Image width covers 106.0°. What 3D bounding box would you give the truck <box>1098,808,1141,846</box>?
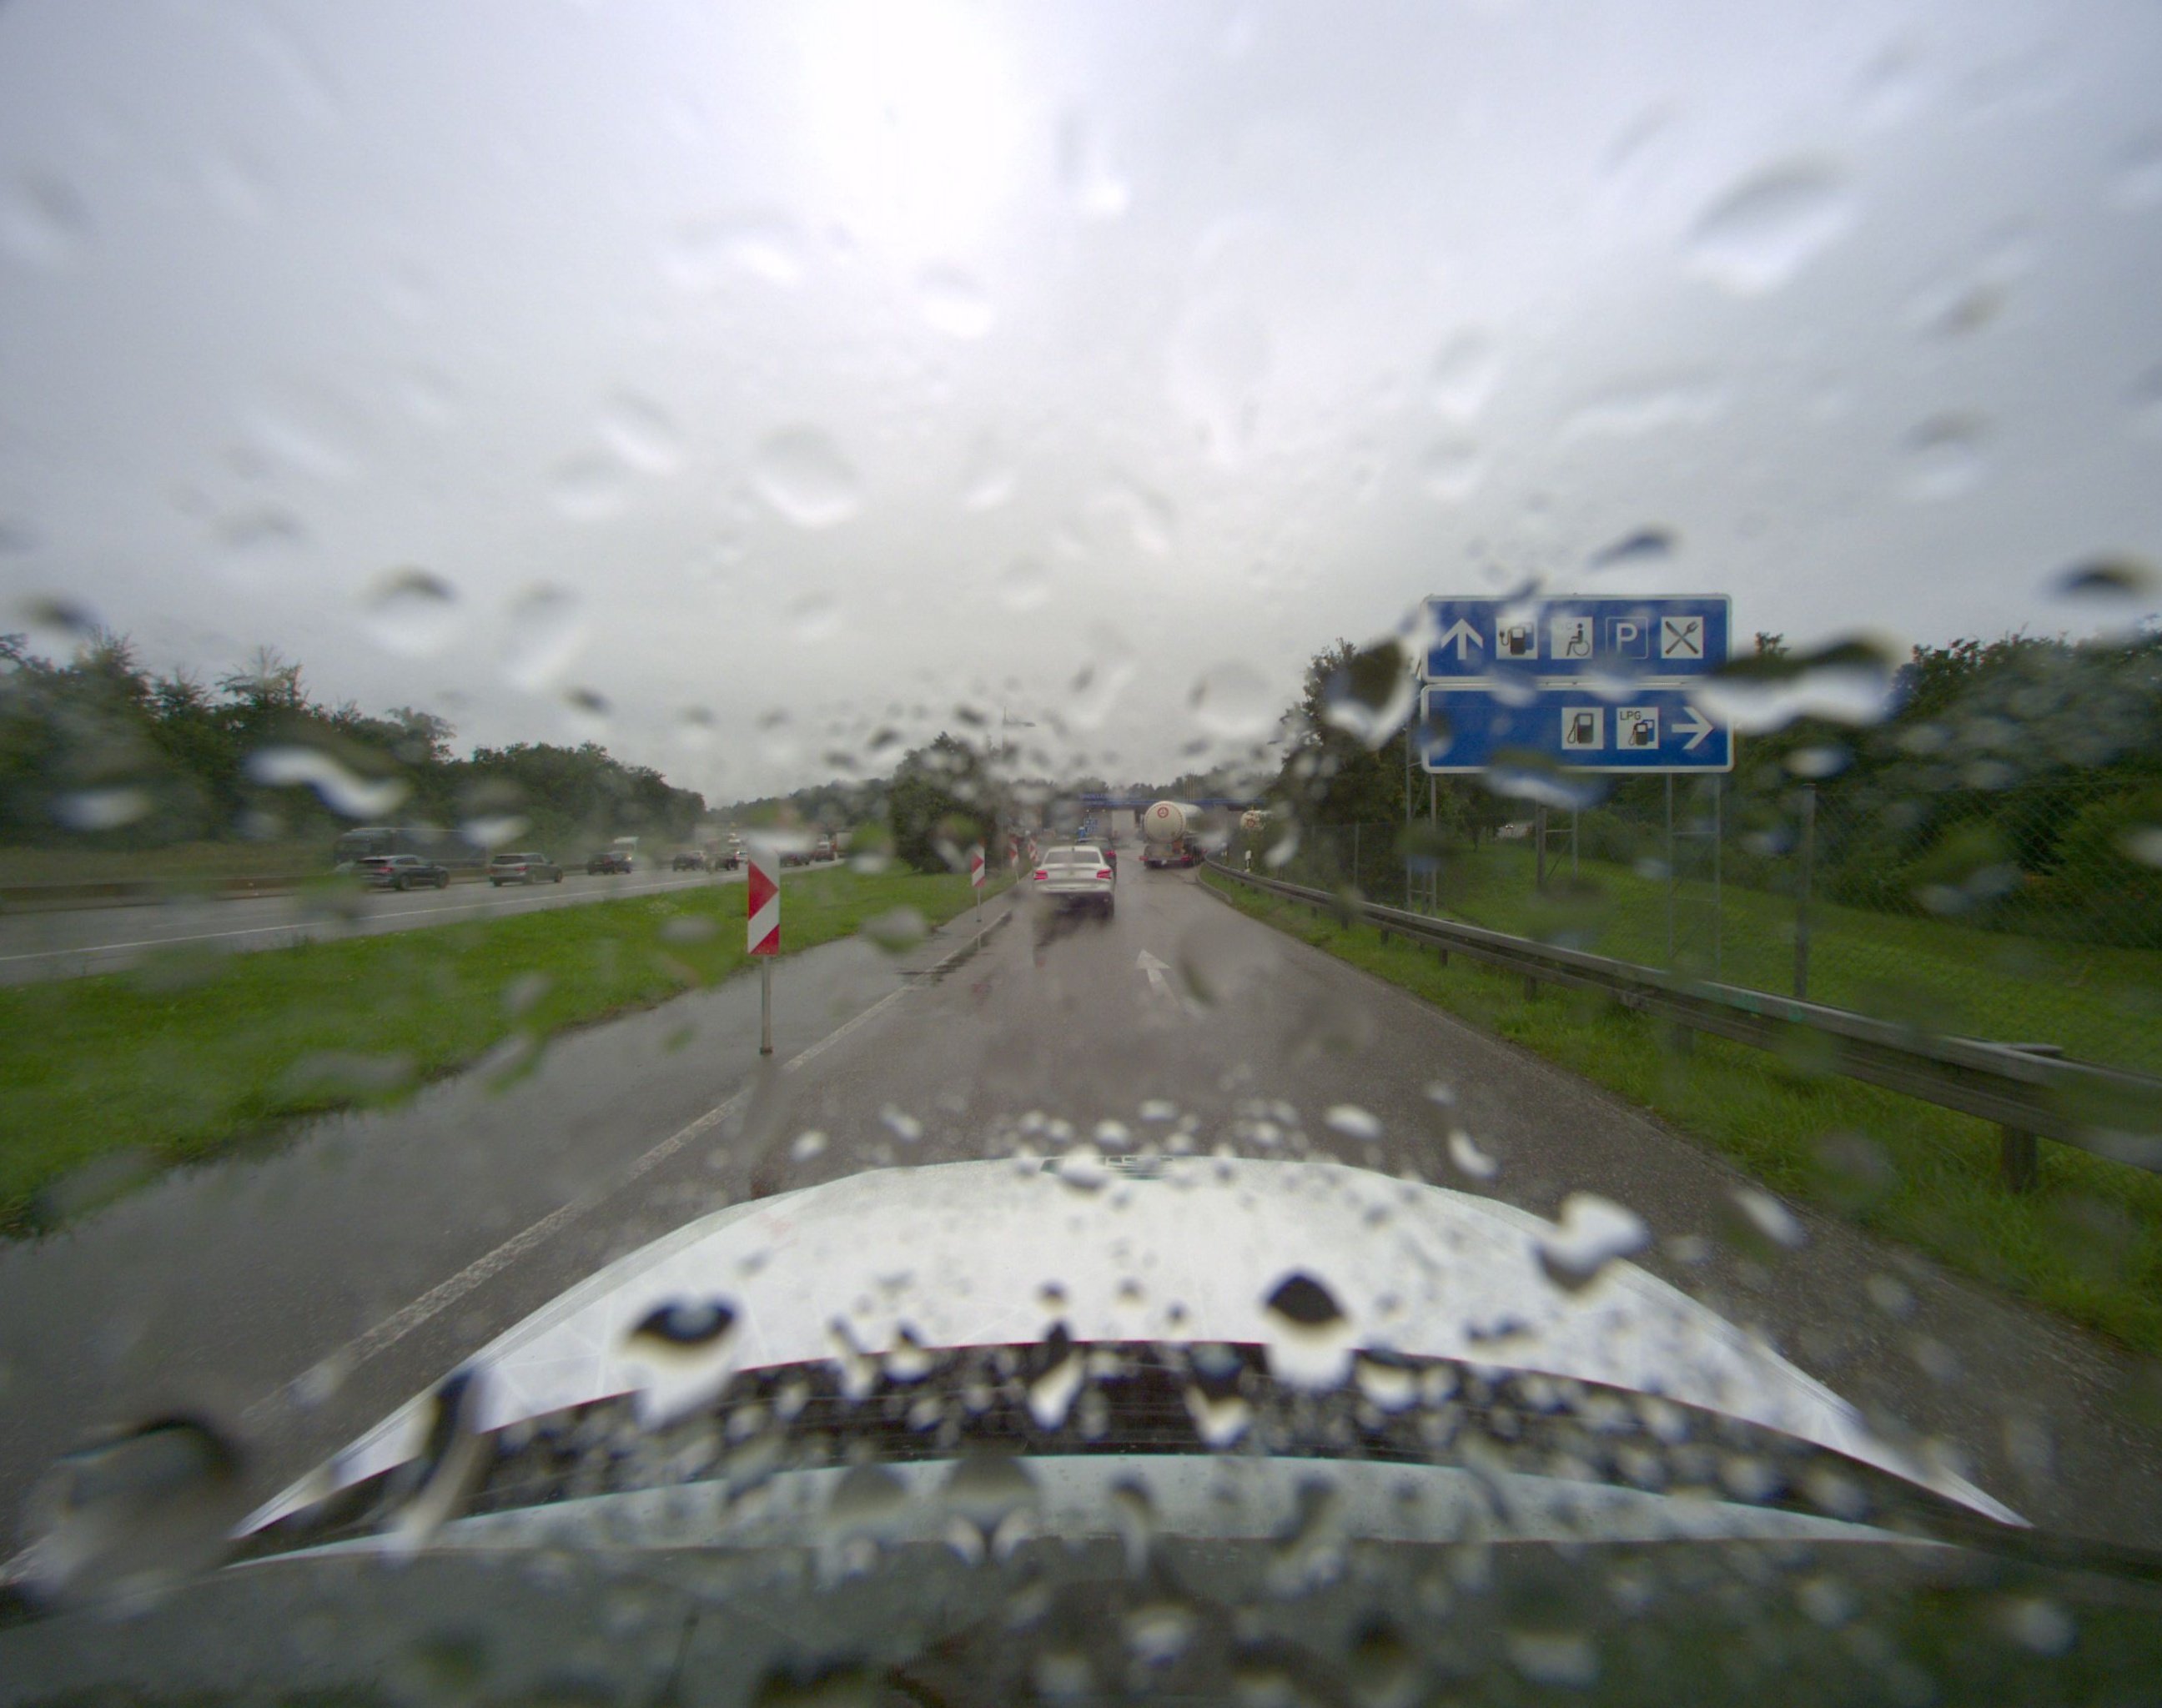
[{"bbox_3d":[4.108,-3.038,90.926,2.369,3.873,12.421,-2,2,-8],"label":"truck"}]

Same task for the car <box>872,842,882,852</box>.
[{"bbox_3d":[-43.835,-1.573,174.842,1.998,2.014,3.978,2,0,-17],"label":"car"}]

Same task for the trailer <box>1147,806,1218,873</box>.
[{"bbox_3d":[5.720,-0.848,44.232,1.965,3.224,10.369,0,2,17],"label":"trailer"}]

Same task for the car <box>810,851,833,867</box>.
[{"bbox_3d":[-30.889,0.541,97.018,1.994,1.816,3.986,-1,0,-10],"label":"car"}]

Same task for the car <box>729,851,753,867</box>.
[{"bbox_3d":[-44.902,0.645,107.546,1.994,2.013,3.986,-2,0,-10],"label":"car"}]

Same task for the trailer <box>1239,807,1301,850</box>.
[{"bbox_3d":[16.477,-2.258,70.363,2.111,3.440,10.319,0,2,31],"label":"trailer"}]

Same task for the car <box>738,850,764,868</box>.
[{"bbox_3d":[-38.709,0.560,95.483,1.994,2.013,3.986,1,0,-10],"label":"car"}]

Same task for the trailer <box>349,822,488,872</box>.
[{"bbox_3d":[-55.872,-0.622,69.373,3.028,3.811,13.363,1,1,-10],"label":"trailer"}]

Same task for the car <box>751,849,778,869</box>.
[{"bbox_3d":[-32.528,0.538,83.755,1.789,1.971,4.318,0,0,-11],"label":"car"}]

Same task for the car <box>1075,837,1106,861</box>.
[{"bbox_3d":[0.592,-0.345,52.518,1.873,1.461,3.998,0,1,-1],"label":"car"}]

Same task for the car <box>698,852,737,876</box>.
[{"bbox_3d":[-28.043,0.778,62.998,1.775,1.736,3.834,-2,0,-9],"label":"car"}]

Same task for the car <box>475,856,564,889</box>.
[{"bbox_3d":[-28.141,0.879,40.994,1.786,1.526,4.325,-2,0,-6],"label":"car"}]

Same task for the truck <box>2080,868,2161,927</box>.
[{"bbox_3d":[52.379,2.243,37.527,2.813,2.661,8.277,5,2,5],"label":"truck"}]

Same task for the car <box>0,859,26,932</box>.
[{"bbox_3d":[-23.803,0.920,15.645,1.717,1.574,4.324,-2,0,-7],"label":"car"}]

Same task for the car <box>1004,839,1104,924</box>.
[{"bbox_3d":[-0.499,0.552,18.568,1.986,1.679,4.001,-1,0,1],"label":"car"}]

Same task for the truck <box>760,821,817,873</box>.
[{"bbox_3d":[-26.661,-0.577,74.890,2.850,4.292,11.801,-2,0,-10],"label":"truck"}]

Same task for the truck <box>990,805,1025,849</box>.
[{"bbox_3d":[-6.882,-2.469,75.769,2.914,3.903,6.300,-1,2,-8],"label":"truck"}]

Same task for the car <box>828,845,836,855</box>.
[{"bbox_3d":[-60.361,-0.959,197.534,1.677,2.014,3.977,6,-2,-17],"label":"car"}]

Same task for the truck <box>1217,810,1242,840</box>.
[{"bbox_3d":[19.620,-3.821,107.754,2.420,3.805,3.996,-2,2,-4],"label":"truck"}]

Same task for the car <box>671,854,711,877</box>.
[{"bbox_3d":[-32.347,0.960,67.668,1.775,1.736,4.087,-3,1,-9],"label":"car"}]

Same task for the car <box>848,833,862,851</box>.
[{"bbox_3d":[-44.384,-2.323,160.145,2.376,3.485,4.791,2,0,-15],"label":"car"}]

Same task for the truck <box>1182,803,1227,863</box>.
[{"bbox_3d":[7.763,-1.327,50.799,2.036,3.530,4.768,0,1,18],"label":"truck"}]

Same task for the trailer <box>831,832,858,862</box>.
[{"bbox_3d":[-37.794,-1.038,130.464,3.554,4.612,12.058,-2,0,-15],"label":"trailer"}]

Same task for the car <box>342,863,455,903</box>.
[{"bbox_3d":[-30.930,1.264,37.120,1.716,1.574,4.449,-2,0,-7],"label":"car"}]

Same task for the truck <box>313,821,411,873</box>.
[{"bbox_3d":[-54.512,-0.518,61.920,3.042,3.746,5.625,1,1,-10],"label":"truck"}]

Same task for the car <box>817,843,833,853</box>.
[{"bbox_3d":[-45.634,-1.110,145.165,1.992,1.816,3.989,0,0,-8],"label":"car"}]

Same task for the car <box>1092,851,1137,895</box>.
[{"bbox_3d":[1.406,0.767,34.023,1.735,1.667,4.003,1,0,3],"label":"car"}]

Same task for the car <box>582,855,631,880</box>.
[{"bbox_3d":[-35.993,0.988,61.859,1.775,1.736,4.087,-2,0,-9],"label":"car"}]
